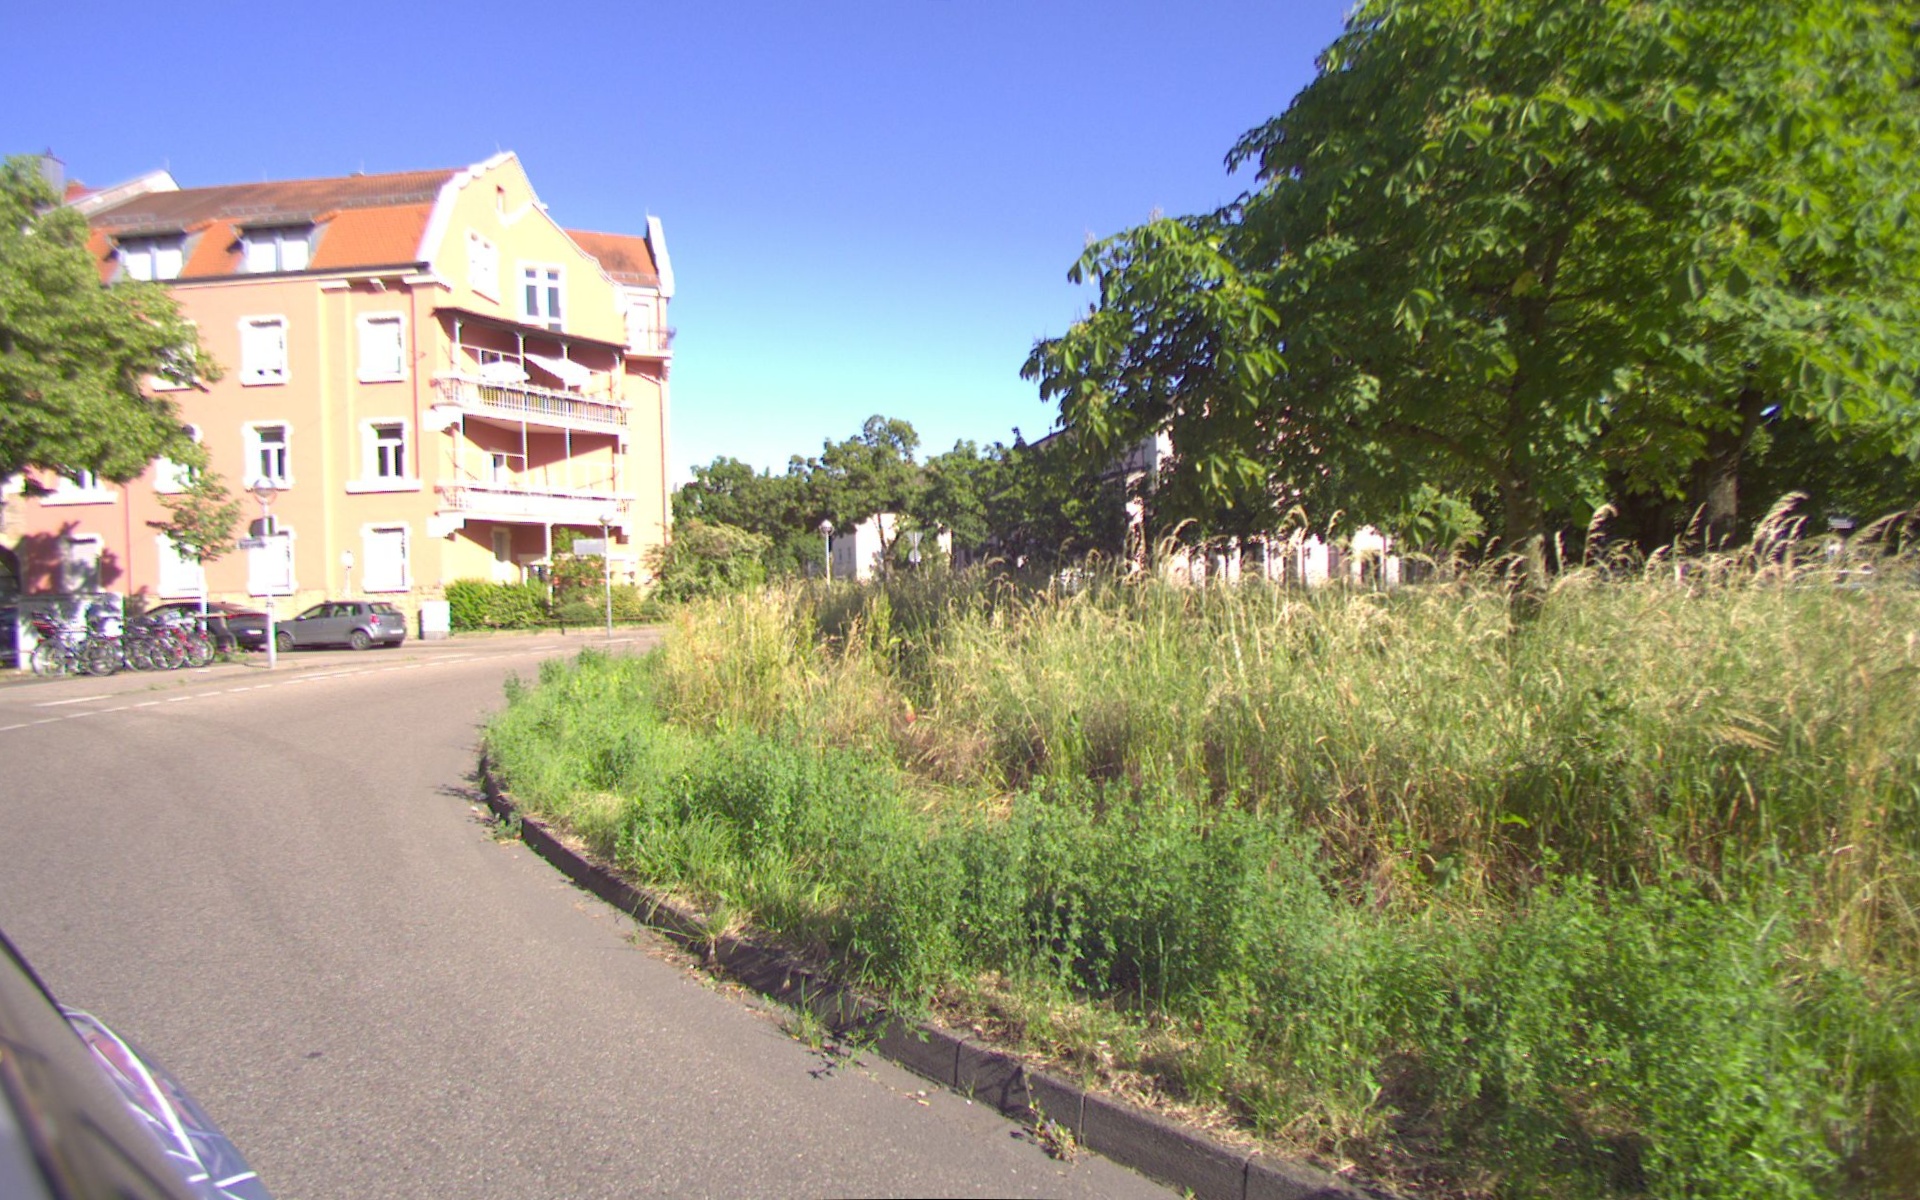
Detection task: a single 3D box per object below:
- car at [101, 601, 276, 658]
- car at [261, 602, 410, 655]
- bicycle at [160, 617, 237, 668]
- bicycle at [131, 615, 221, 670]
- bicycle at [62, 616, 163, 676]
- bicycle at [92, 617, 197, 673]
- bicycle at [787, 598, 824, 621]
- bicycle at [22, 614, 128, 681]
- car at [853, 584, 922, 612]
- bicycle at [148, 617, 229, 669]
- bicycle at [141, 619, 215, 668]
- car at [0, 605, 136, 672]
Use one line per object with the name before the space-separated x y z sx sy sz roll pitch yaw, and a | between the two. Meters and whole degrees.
car | -23.409 0.888 30.781 4.242 1.574 1.685 -1 -1 6
car | -18.633 0.857 30.252 3.502 1.457 1.685 -1 -1 6
bicycle | -16.866 0.947 22.428 1.509 1.094 0.418 -1 1 9
bicycle | -16.536 0.896 21.356 1.631 1.110 0.499 -1 1 9
bicycle | -16.749 0.911 20.006 1.583 1.135 0.588 -1 1 7
bicycle | -16.692 0.917 20.716 1.709 1.097 0.656 -1 1 7
bicycle | -7.597 0.471 49.737 1.697 1.123 0.548 0 0 -22
bicycle | -16.797 0.898 19.221 1.659 1.202 0.537 -1 1 7
car | -5.341 -0.169 74.396 4.697 2.016 1.815 -1 0 -27
bicycle | -16.726 0.939 21.944 1.556 1.097 0.418 -1 1 9
bicycle | -18.038 1.003 23.353 1.509 1.094 0.418 -1 1 9
car | -21.444 0.865 23.000 1.681 1.457 3.882 -2 -1 30
